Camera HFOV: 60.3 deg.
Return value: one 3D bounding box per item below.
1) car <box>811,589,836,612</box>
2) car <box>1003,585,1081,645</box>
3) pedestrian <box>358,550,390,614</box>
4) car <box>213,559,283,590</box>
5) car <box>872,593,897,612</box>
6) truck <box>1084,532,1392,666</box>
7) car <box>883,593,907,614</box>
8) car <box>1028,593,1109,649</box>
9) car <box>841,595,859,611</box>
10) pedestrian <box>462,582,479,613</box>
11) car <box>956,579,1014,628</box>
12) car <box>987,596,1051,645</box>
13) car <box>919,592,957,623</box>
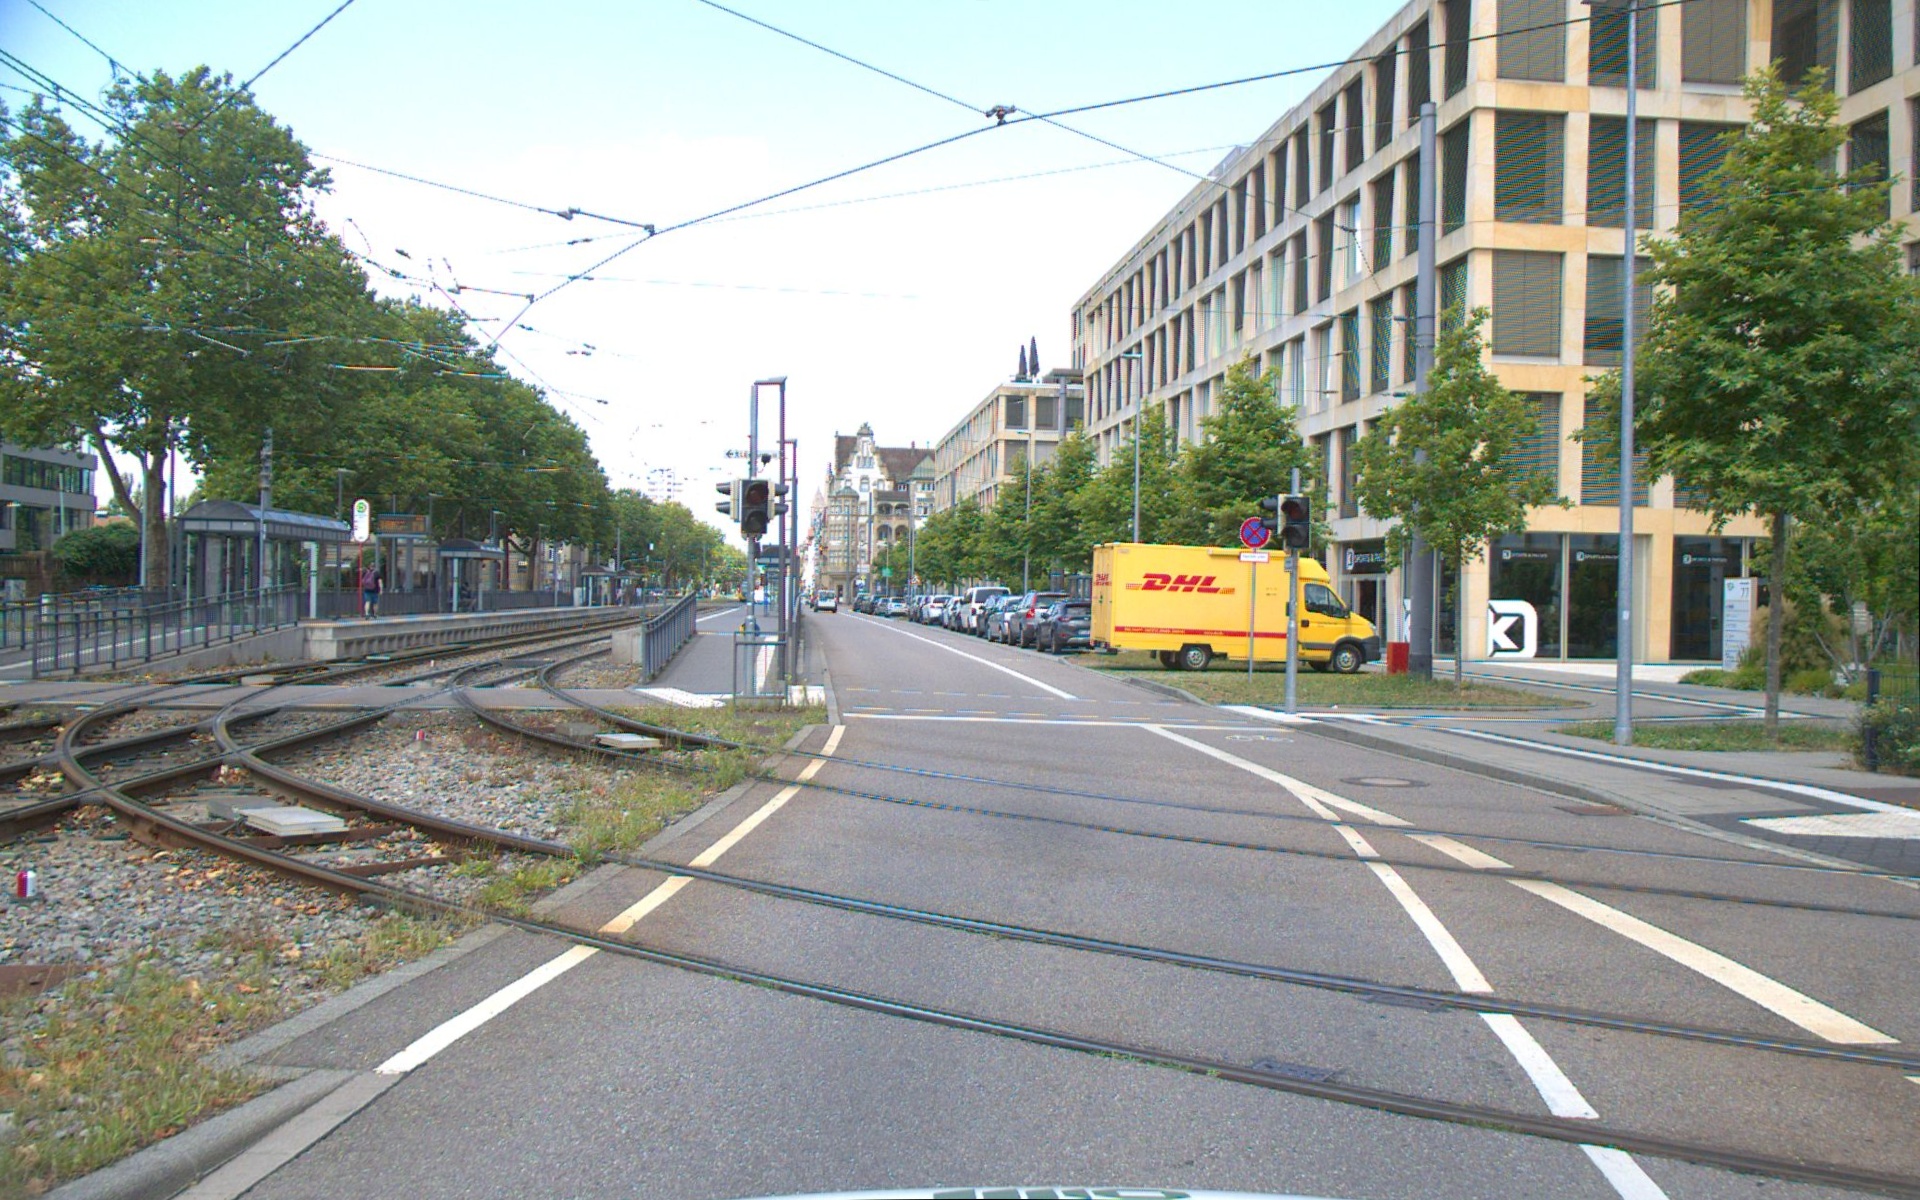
[{"bbox_3d":[-11.395,0.026,137.634,1.833,1.777,3.994,2,0,-7],"label":"car"},{"bbox_3d":[2.572,0.459,52.983,1.735,1.798,4.833,1,0,-6],"label":"car"},{"bbox_3d":[-17.401,-0.543,49.152,0.693,1.877,0.863,1,0,-7],"label":"pedestrian"},{"bbox_3d":[-49.271,-1.756,114.502,4.058,2.069,1.957,-1,0,-7],"label":"car"},{"bbox_3d":[-6.101,0.169,134.011,1.561,1.459,4.099,3,0,-8],"label":"car"},{"bbox_3d":[6.448,0.012,38.714,6.679,2.917,2.450,1,-1,-9],"label":"truck"},{"bbox_3d":[-4.813,0.229,122.785,1.560,1.485,3.609,3,0,-5],"label":"car"},{"bbox_3d":[3.093,0.583,47.814,1.659,1.531,4.062,1,0,-6],"label":"car"},{"bbox_3d":[-10.643,0.276,160.230,1.416,1.496,4.085,-1,0,-8],"label":"car"},{"bbox_3d":[-20.916,-0.116,70.710,0.542,1.291,0.767,1,0,-5],"label":"pedestrian"},{"bbox_3d":[1.012,0.142,69.560,1.845,1.973,4.836,0,0,-6],"label":"car"},{"bbox_3d":[2.030,0.696,58.202,1.688,1.648,3.854,1,0,-6],"label":"car"},{"bbox_3d":[-1.232,0.410,90.274,1.653,1.634,4.146,0,0,-6],"label":"car"}]
